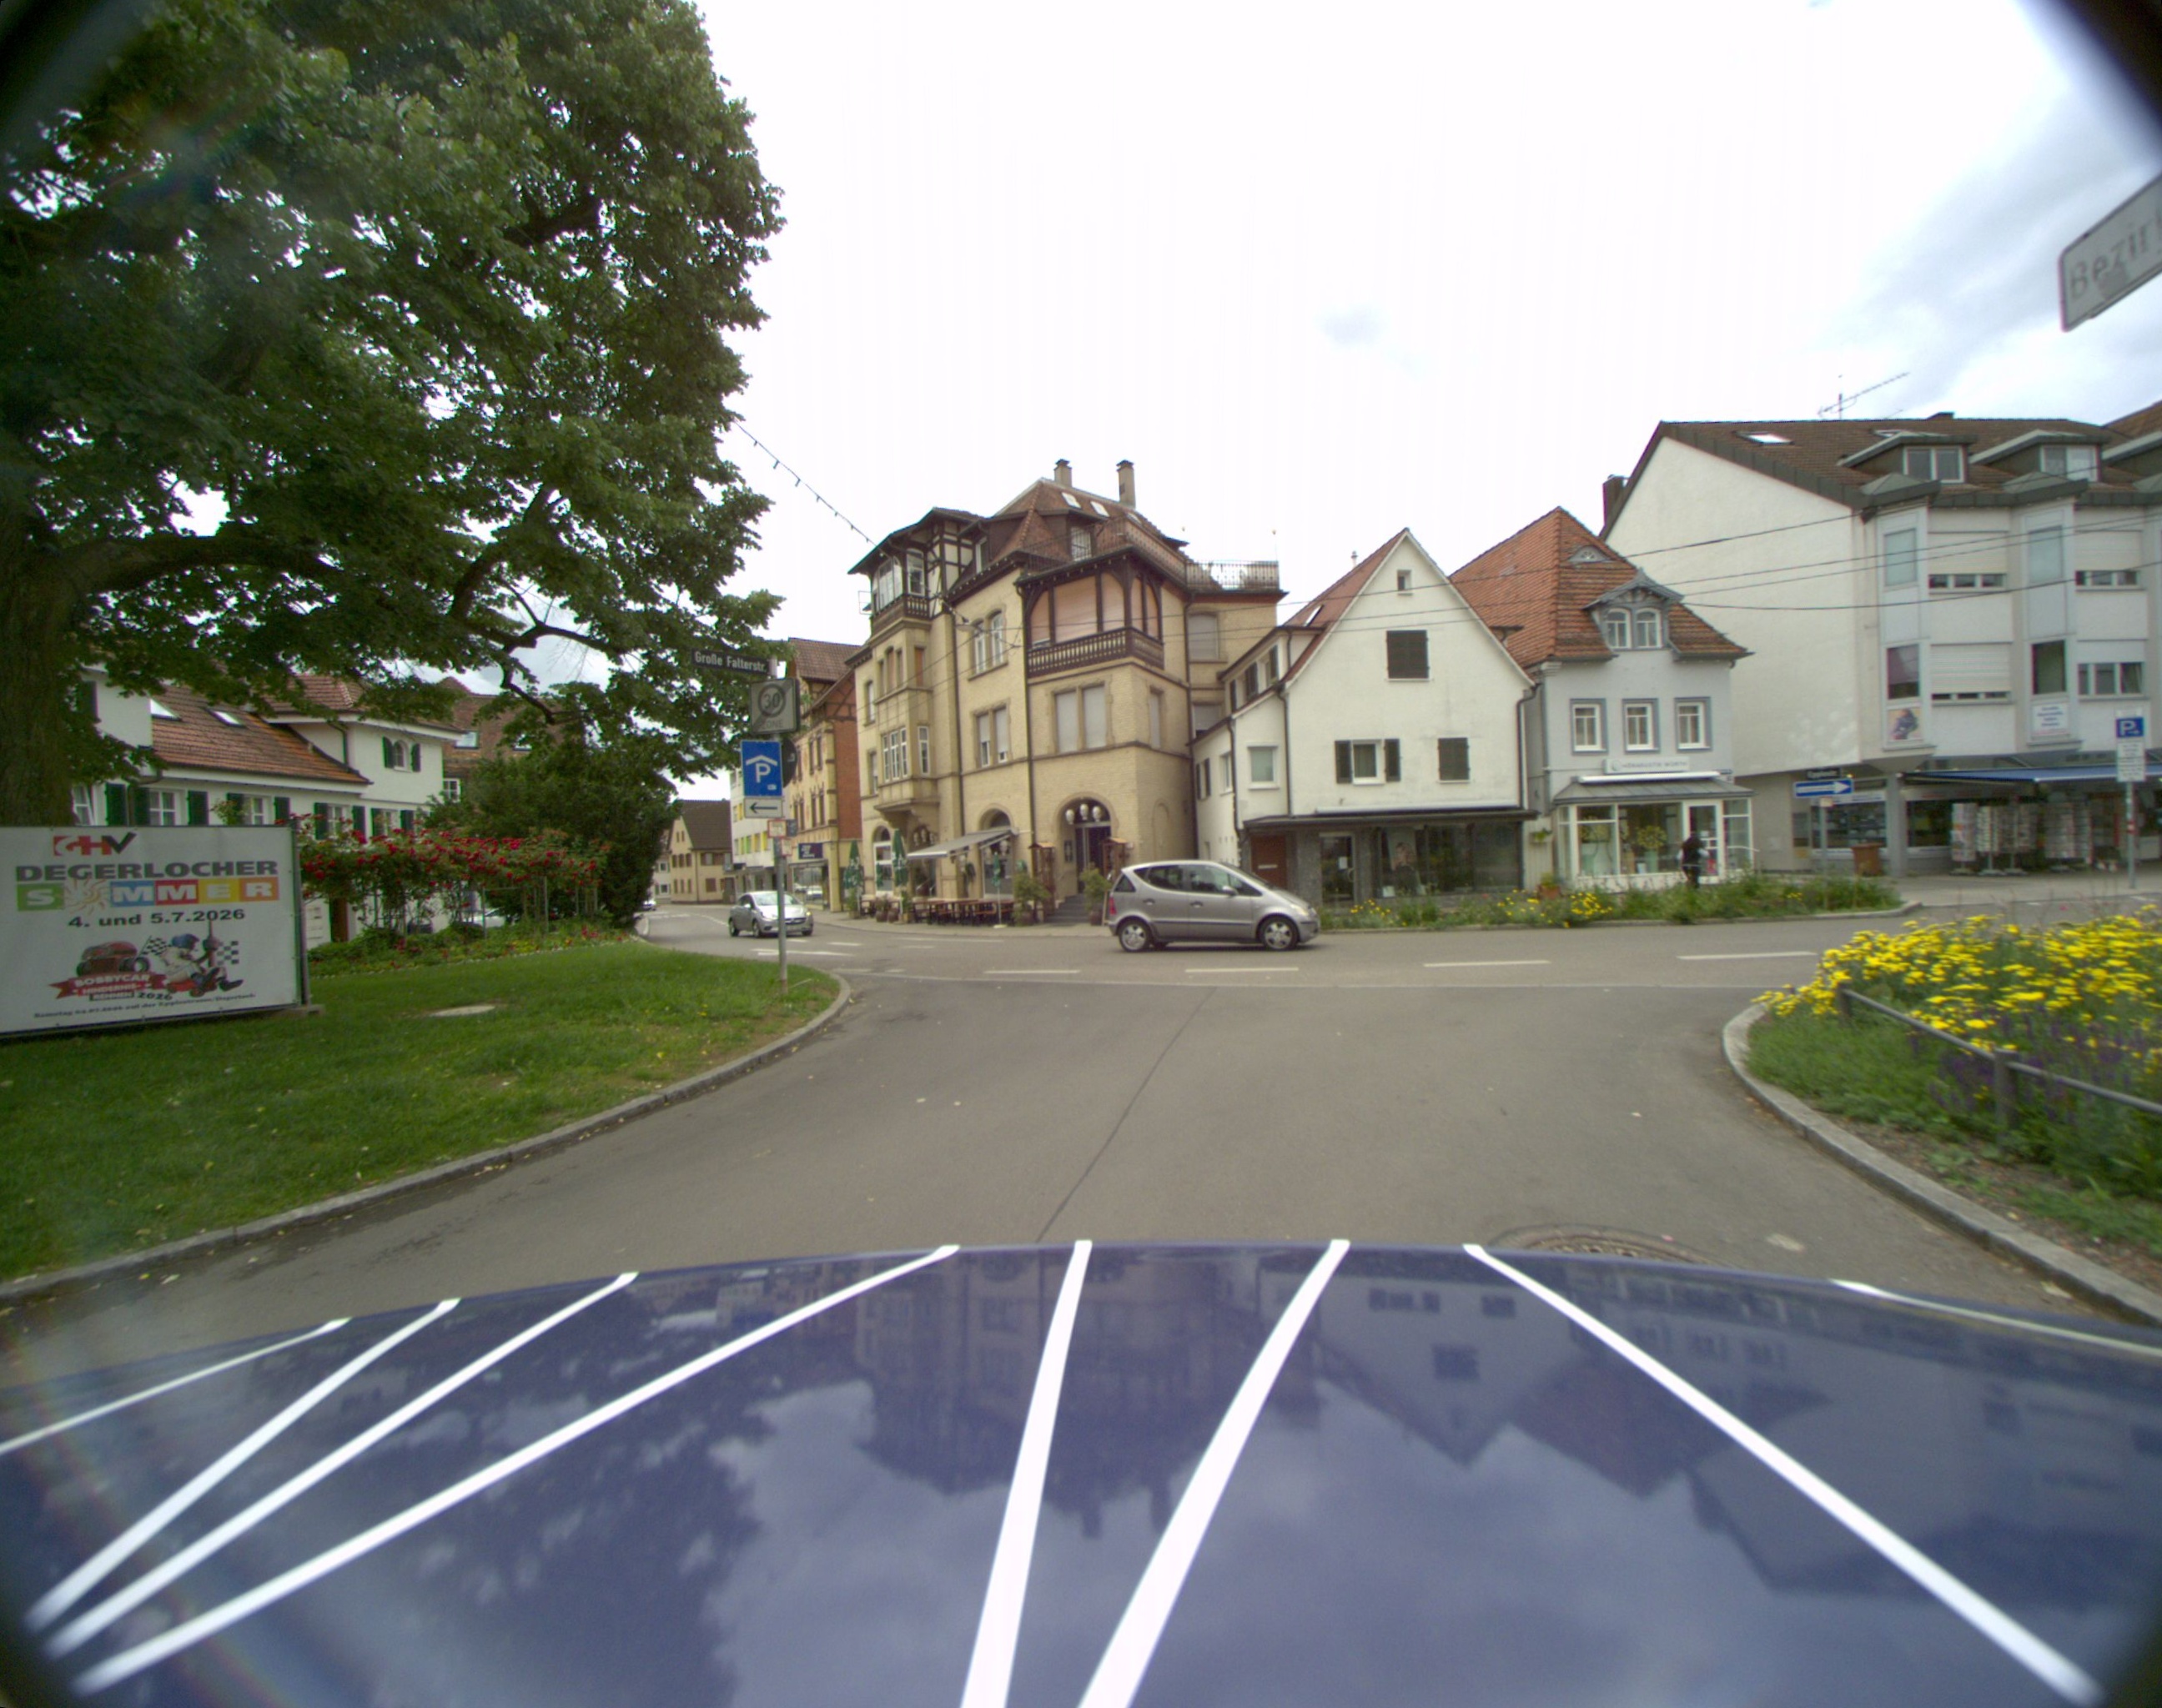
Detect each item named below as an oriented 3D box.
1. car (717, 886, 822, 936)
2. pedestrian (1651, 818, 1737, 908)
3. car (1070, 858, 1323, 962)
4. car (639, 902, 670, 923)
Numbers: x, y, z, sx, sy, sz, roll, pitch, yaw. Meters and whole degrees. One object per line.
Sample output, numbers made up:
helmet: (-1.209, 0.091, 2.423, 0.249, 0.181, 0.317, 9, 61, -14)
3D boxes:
car: (-10.044, 1.801, 24.360, 1.759, 1.347, 3.990, -3, 0, -43)
pedestrian: (14.473, 0.208, 17.977, 1.014, 2.001, 1.105, -3, 0, -9)
car: (2.053, 0.970, 13.463, 3.991, 1.617, 1.899, -3, -1, 25)
car: (-39.542, 5.400, 70.382, 2.005, 1.618, 3.990, -4, 1, -35)
